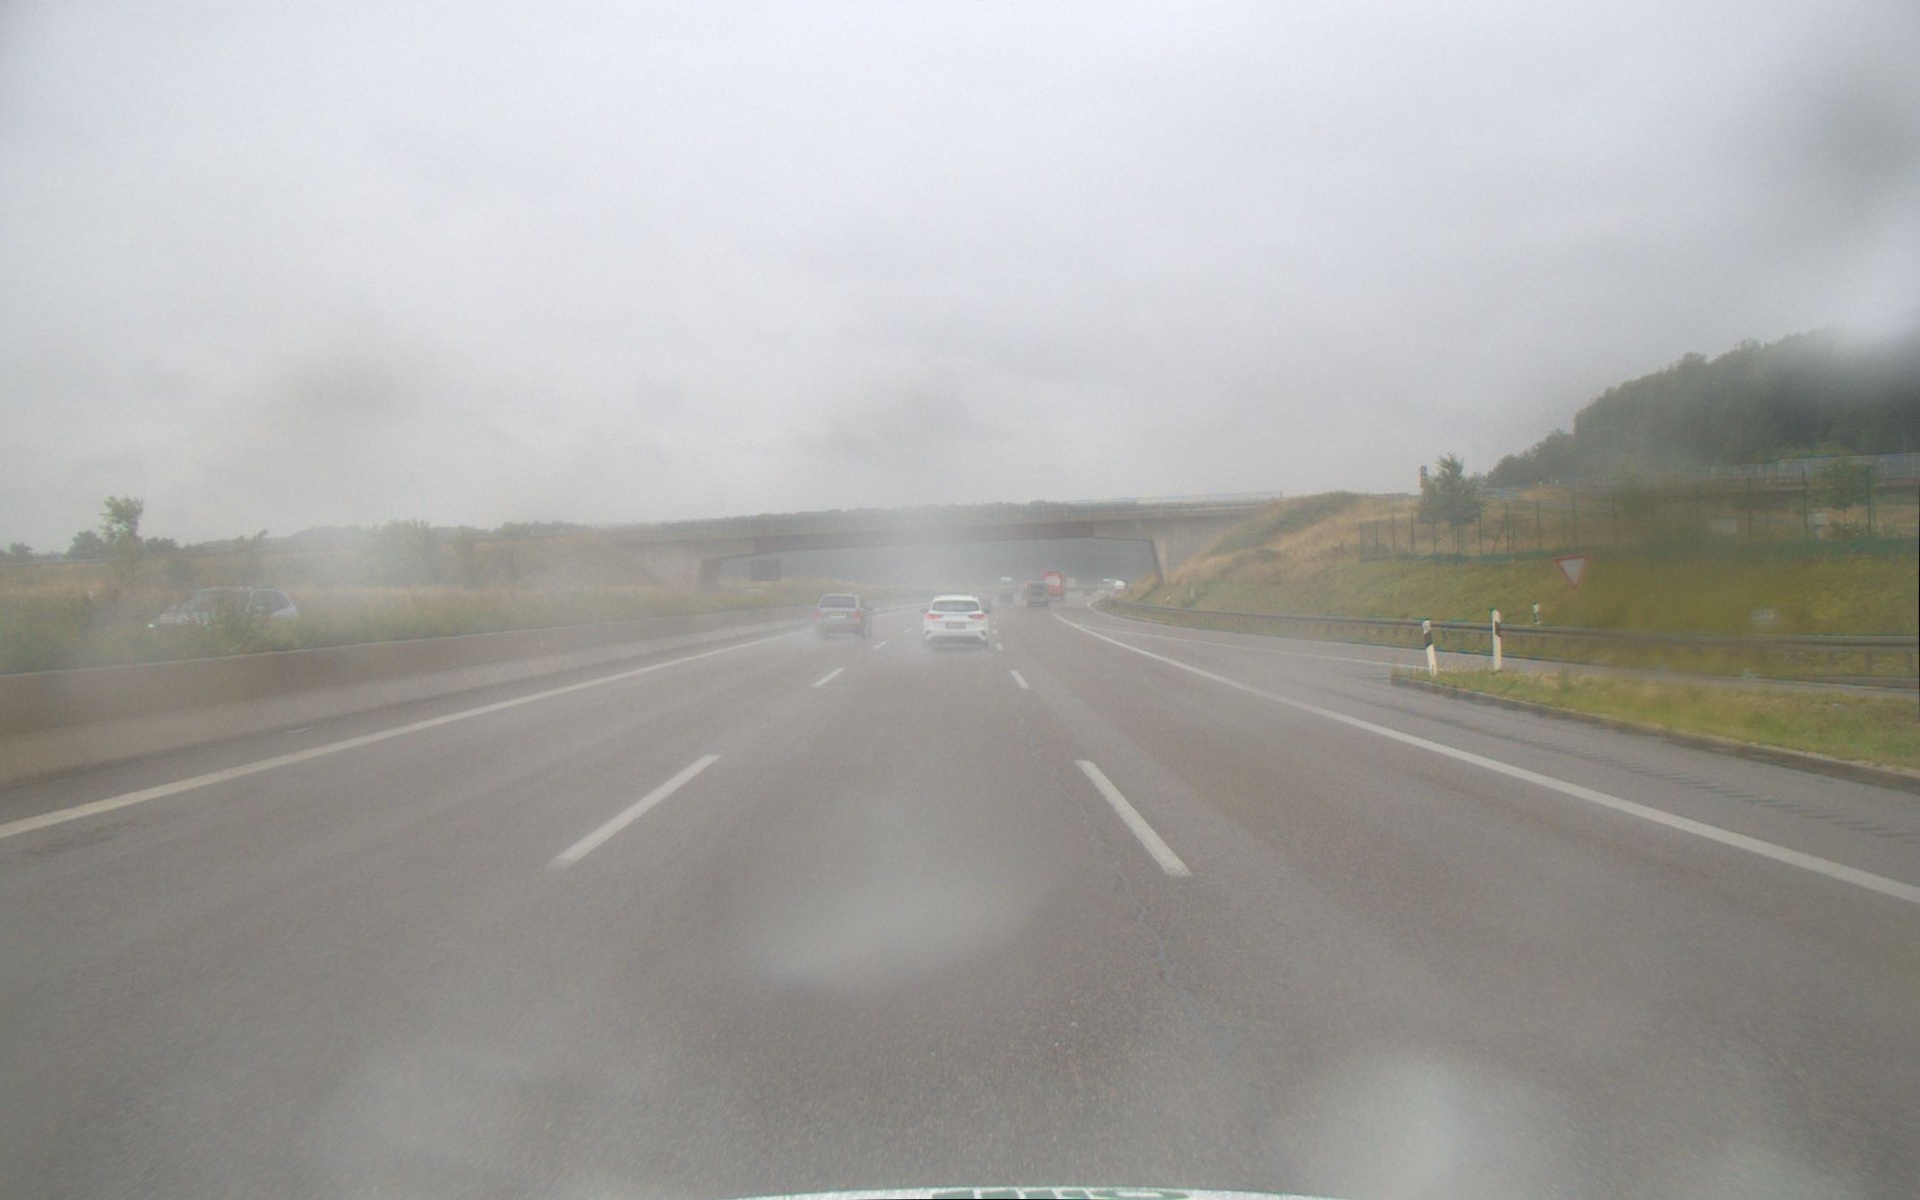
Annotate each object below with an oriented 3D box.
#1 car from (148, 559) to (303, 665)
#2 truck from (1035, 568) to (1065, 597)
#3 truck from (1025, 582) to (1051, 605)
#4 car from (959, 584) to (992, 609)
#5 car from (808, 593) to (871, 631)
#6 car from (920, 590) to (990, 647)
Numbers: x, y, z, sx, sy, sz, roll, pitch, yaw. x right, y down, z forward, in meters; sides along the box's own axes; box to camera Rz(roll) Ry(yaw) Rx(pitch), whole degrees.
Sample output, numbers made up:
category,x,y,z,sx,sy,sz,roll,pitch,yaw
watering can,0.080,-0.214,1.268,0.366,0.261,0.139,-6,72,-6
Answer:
category,x,y,z,sx,sy,sz,roll,pitch,yaw
car,-14.814,0.227,33.553,1.641,2.049,3.441,0,0,-1
truck,12.153,-2.393,223.526,3.455,3.808,11.427,1,1,0
truck,8.067,-0.652,170.486,2.357,2.291,4.696,0,0,6
car,1.036,-0.259,110.707,1.951,1.646,4.002,1,0,4
car,-3.894,0.400,54.061,1.786,1.177,4.212,1,-1,-1
car,-0.178,0.498,45.435,1.830,1.488,3.999,1,0,-2
